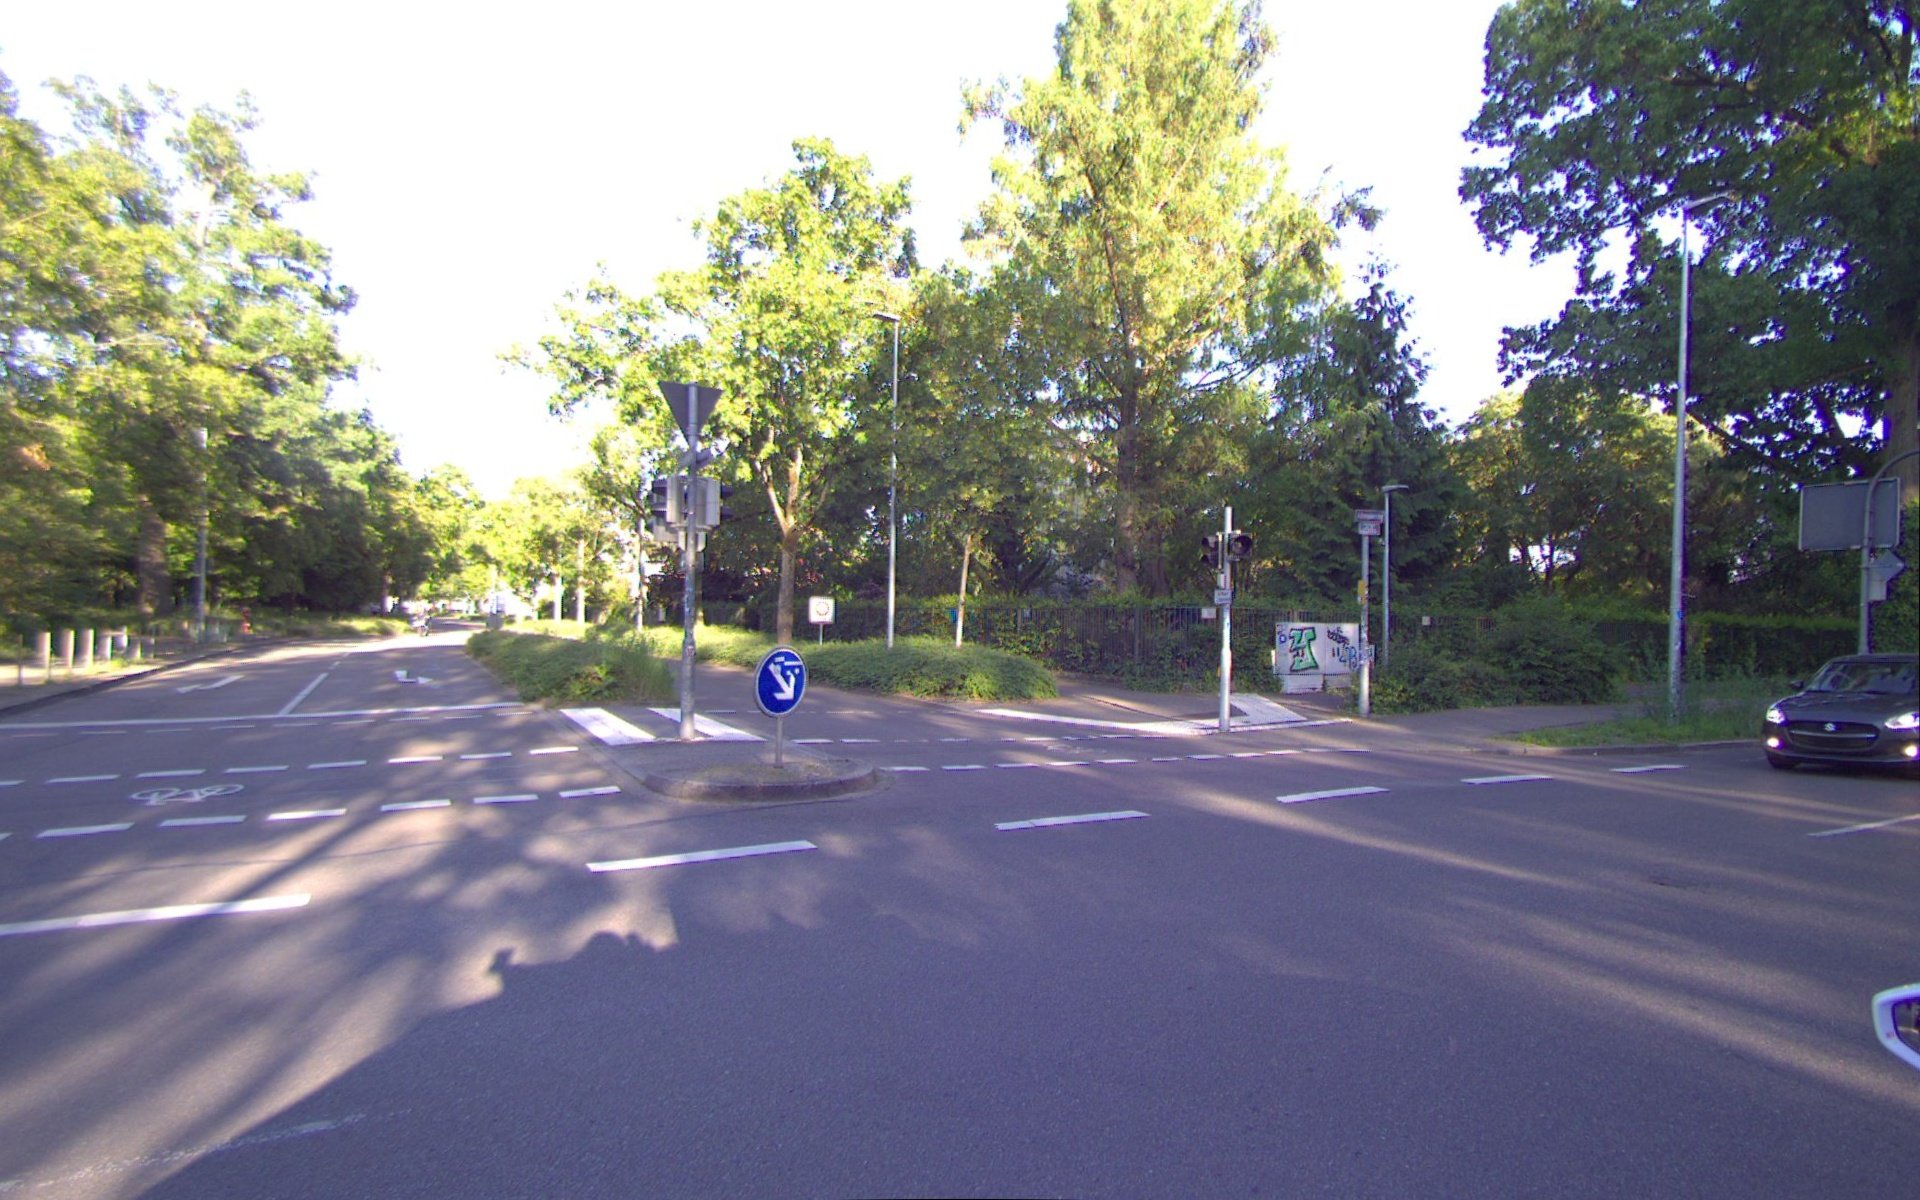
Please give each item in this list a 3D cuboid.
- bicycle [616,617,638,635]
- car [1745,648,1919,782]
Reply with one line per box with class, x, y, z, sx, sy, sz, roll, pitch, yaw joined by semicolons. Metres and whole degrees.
bicycle;-23.119;1.804;69.799;0.869;1.216;2.324;0;0;-5
car;11.782;1.355;12.677;3.596;1.472;1.700;2;-3;-30
